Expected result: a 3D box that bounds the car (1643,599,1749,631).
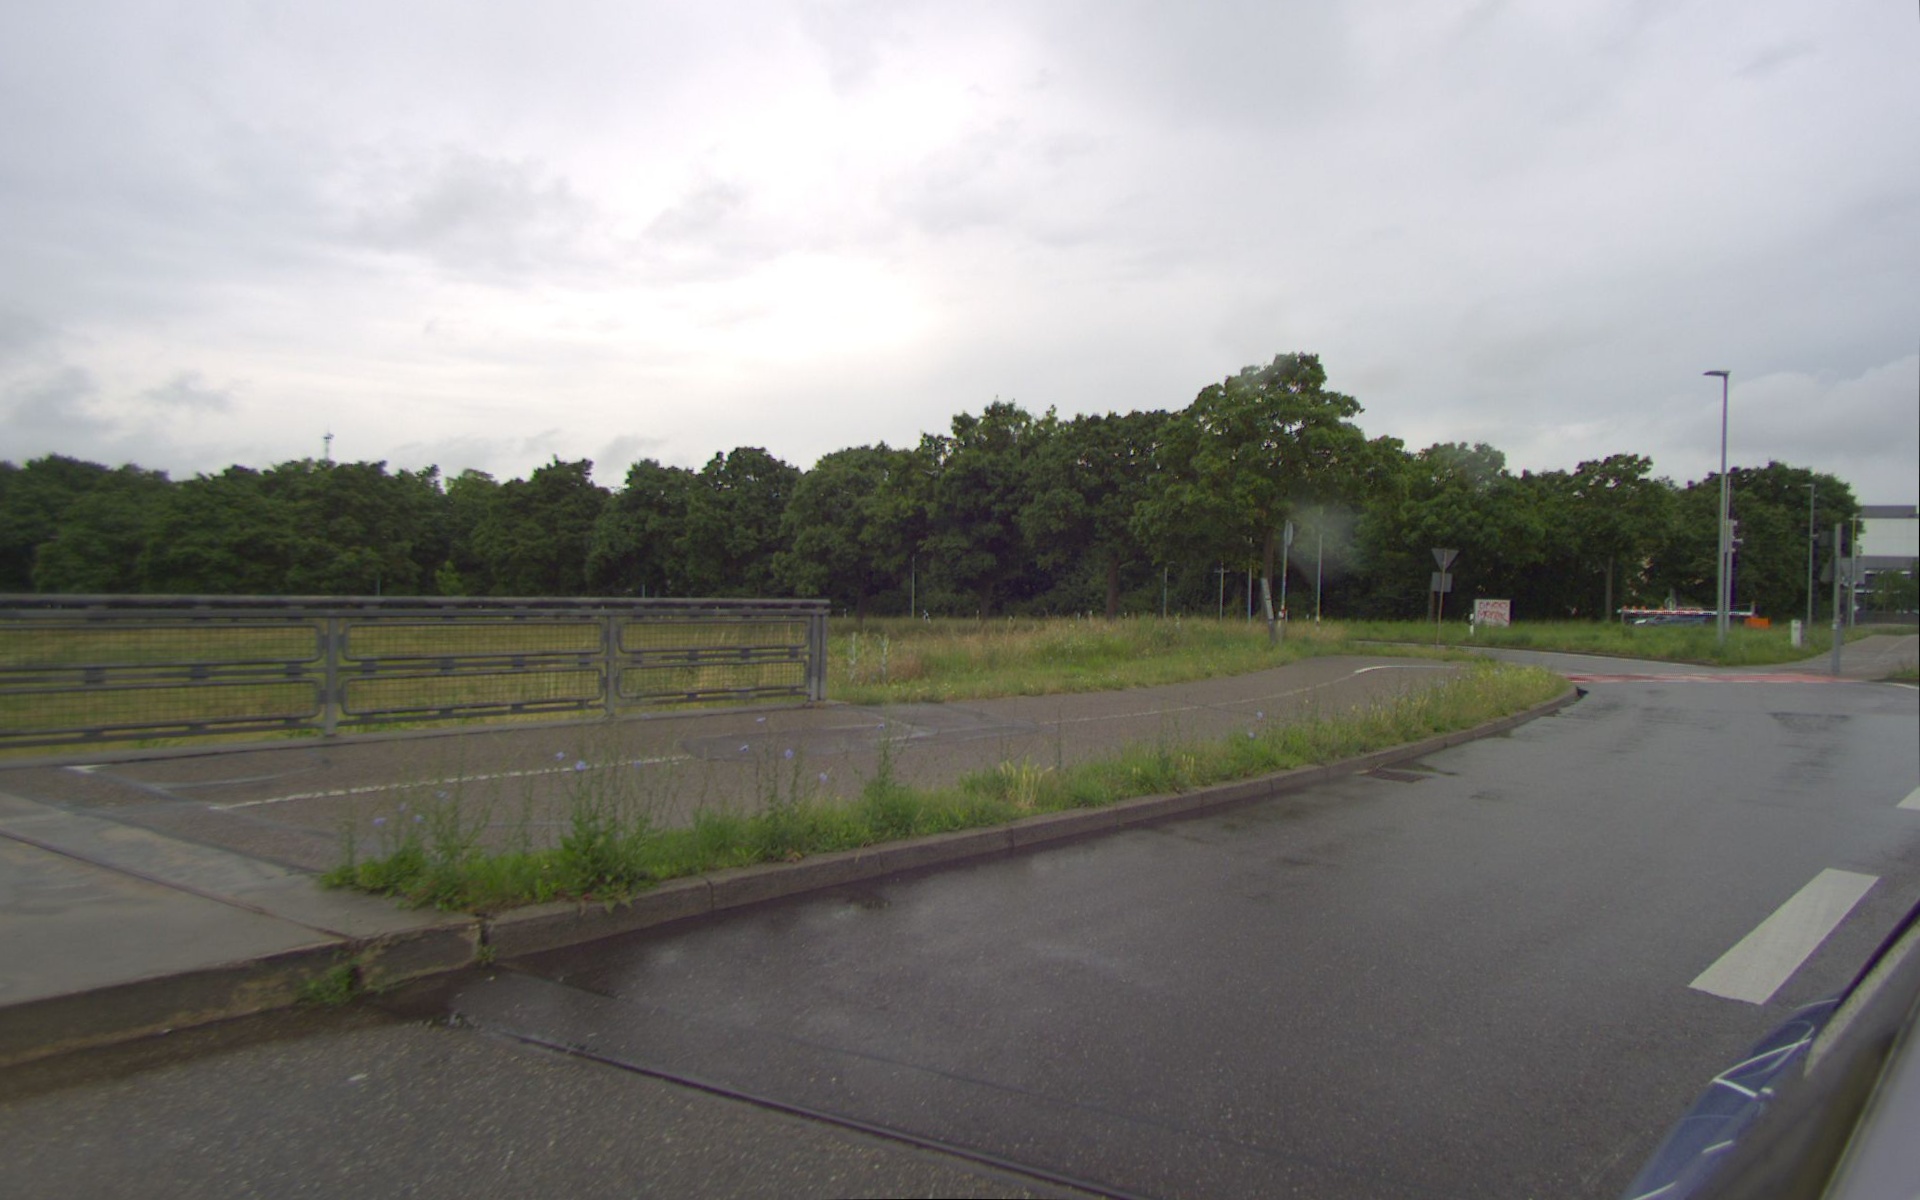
[{"bbox_3d":[43.800,0.907,60.301,4.735,1.773,1.847,-1,0,8],"label":"car"}]
